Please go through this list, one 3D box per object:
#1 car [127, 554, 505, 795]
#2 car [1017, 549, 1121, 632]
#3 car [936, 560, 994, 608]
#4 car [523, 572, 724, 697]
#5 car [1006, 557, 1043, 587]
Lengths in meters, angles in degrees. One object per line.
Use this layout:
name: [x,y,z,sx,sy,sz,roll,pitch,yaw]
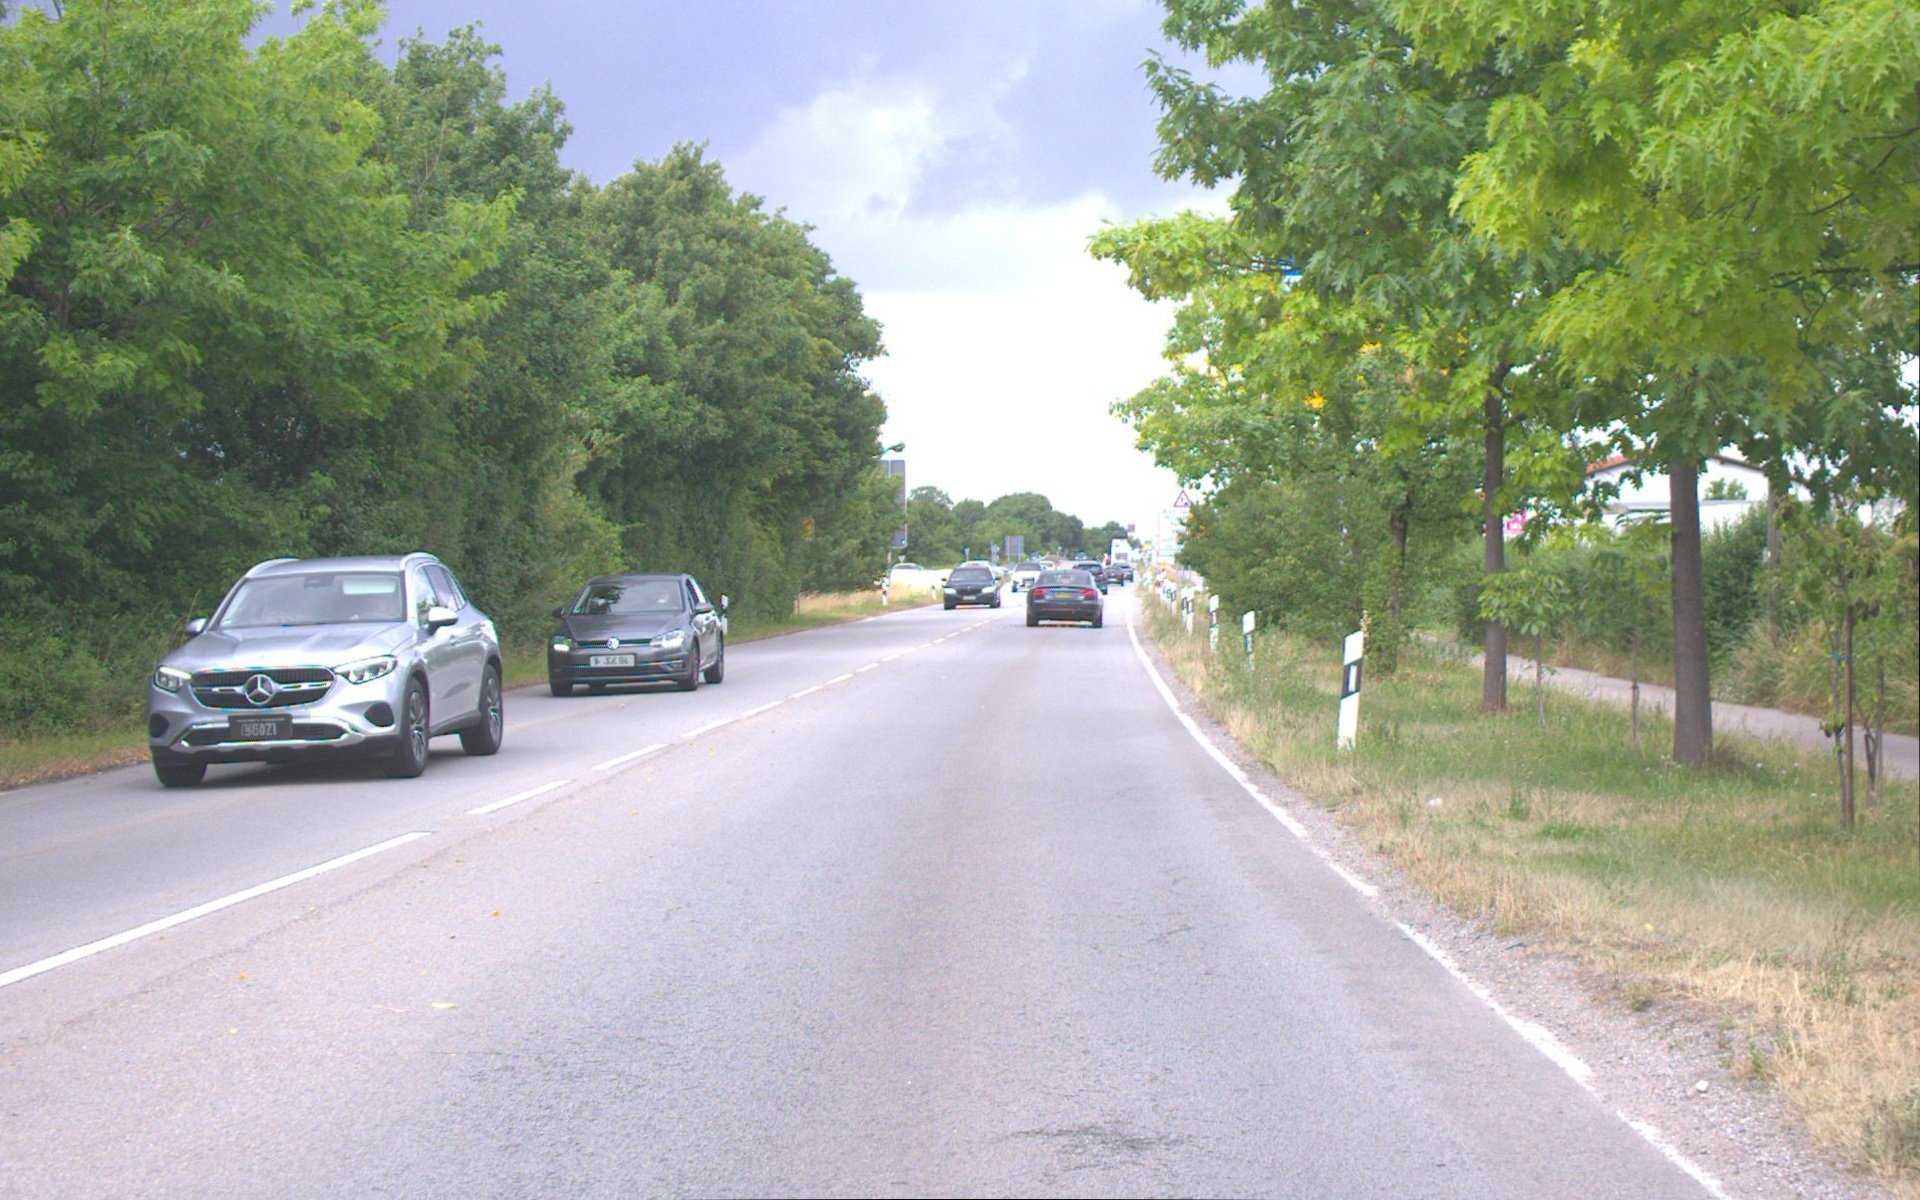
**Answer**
car: [-4.744,0.505,26.005,1.993,1.596,4.665,-2,0,-1]
car: [2.607,-0.238,83.369,2.372,1.874,4.478,-2,0,1]
car: [0.189,-0.568,120.749,1.940,1.581,4.556,-2,0,1]
car: [-4.138,0.400,42.982,1.993,1.414,4.478,-2,0,1]
car: [3.732,-1.636,197.648,1.994,1.678,4.809,-1,1,3]
